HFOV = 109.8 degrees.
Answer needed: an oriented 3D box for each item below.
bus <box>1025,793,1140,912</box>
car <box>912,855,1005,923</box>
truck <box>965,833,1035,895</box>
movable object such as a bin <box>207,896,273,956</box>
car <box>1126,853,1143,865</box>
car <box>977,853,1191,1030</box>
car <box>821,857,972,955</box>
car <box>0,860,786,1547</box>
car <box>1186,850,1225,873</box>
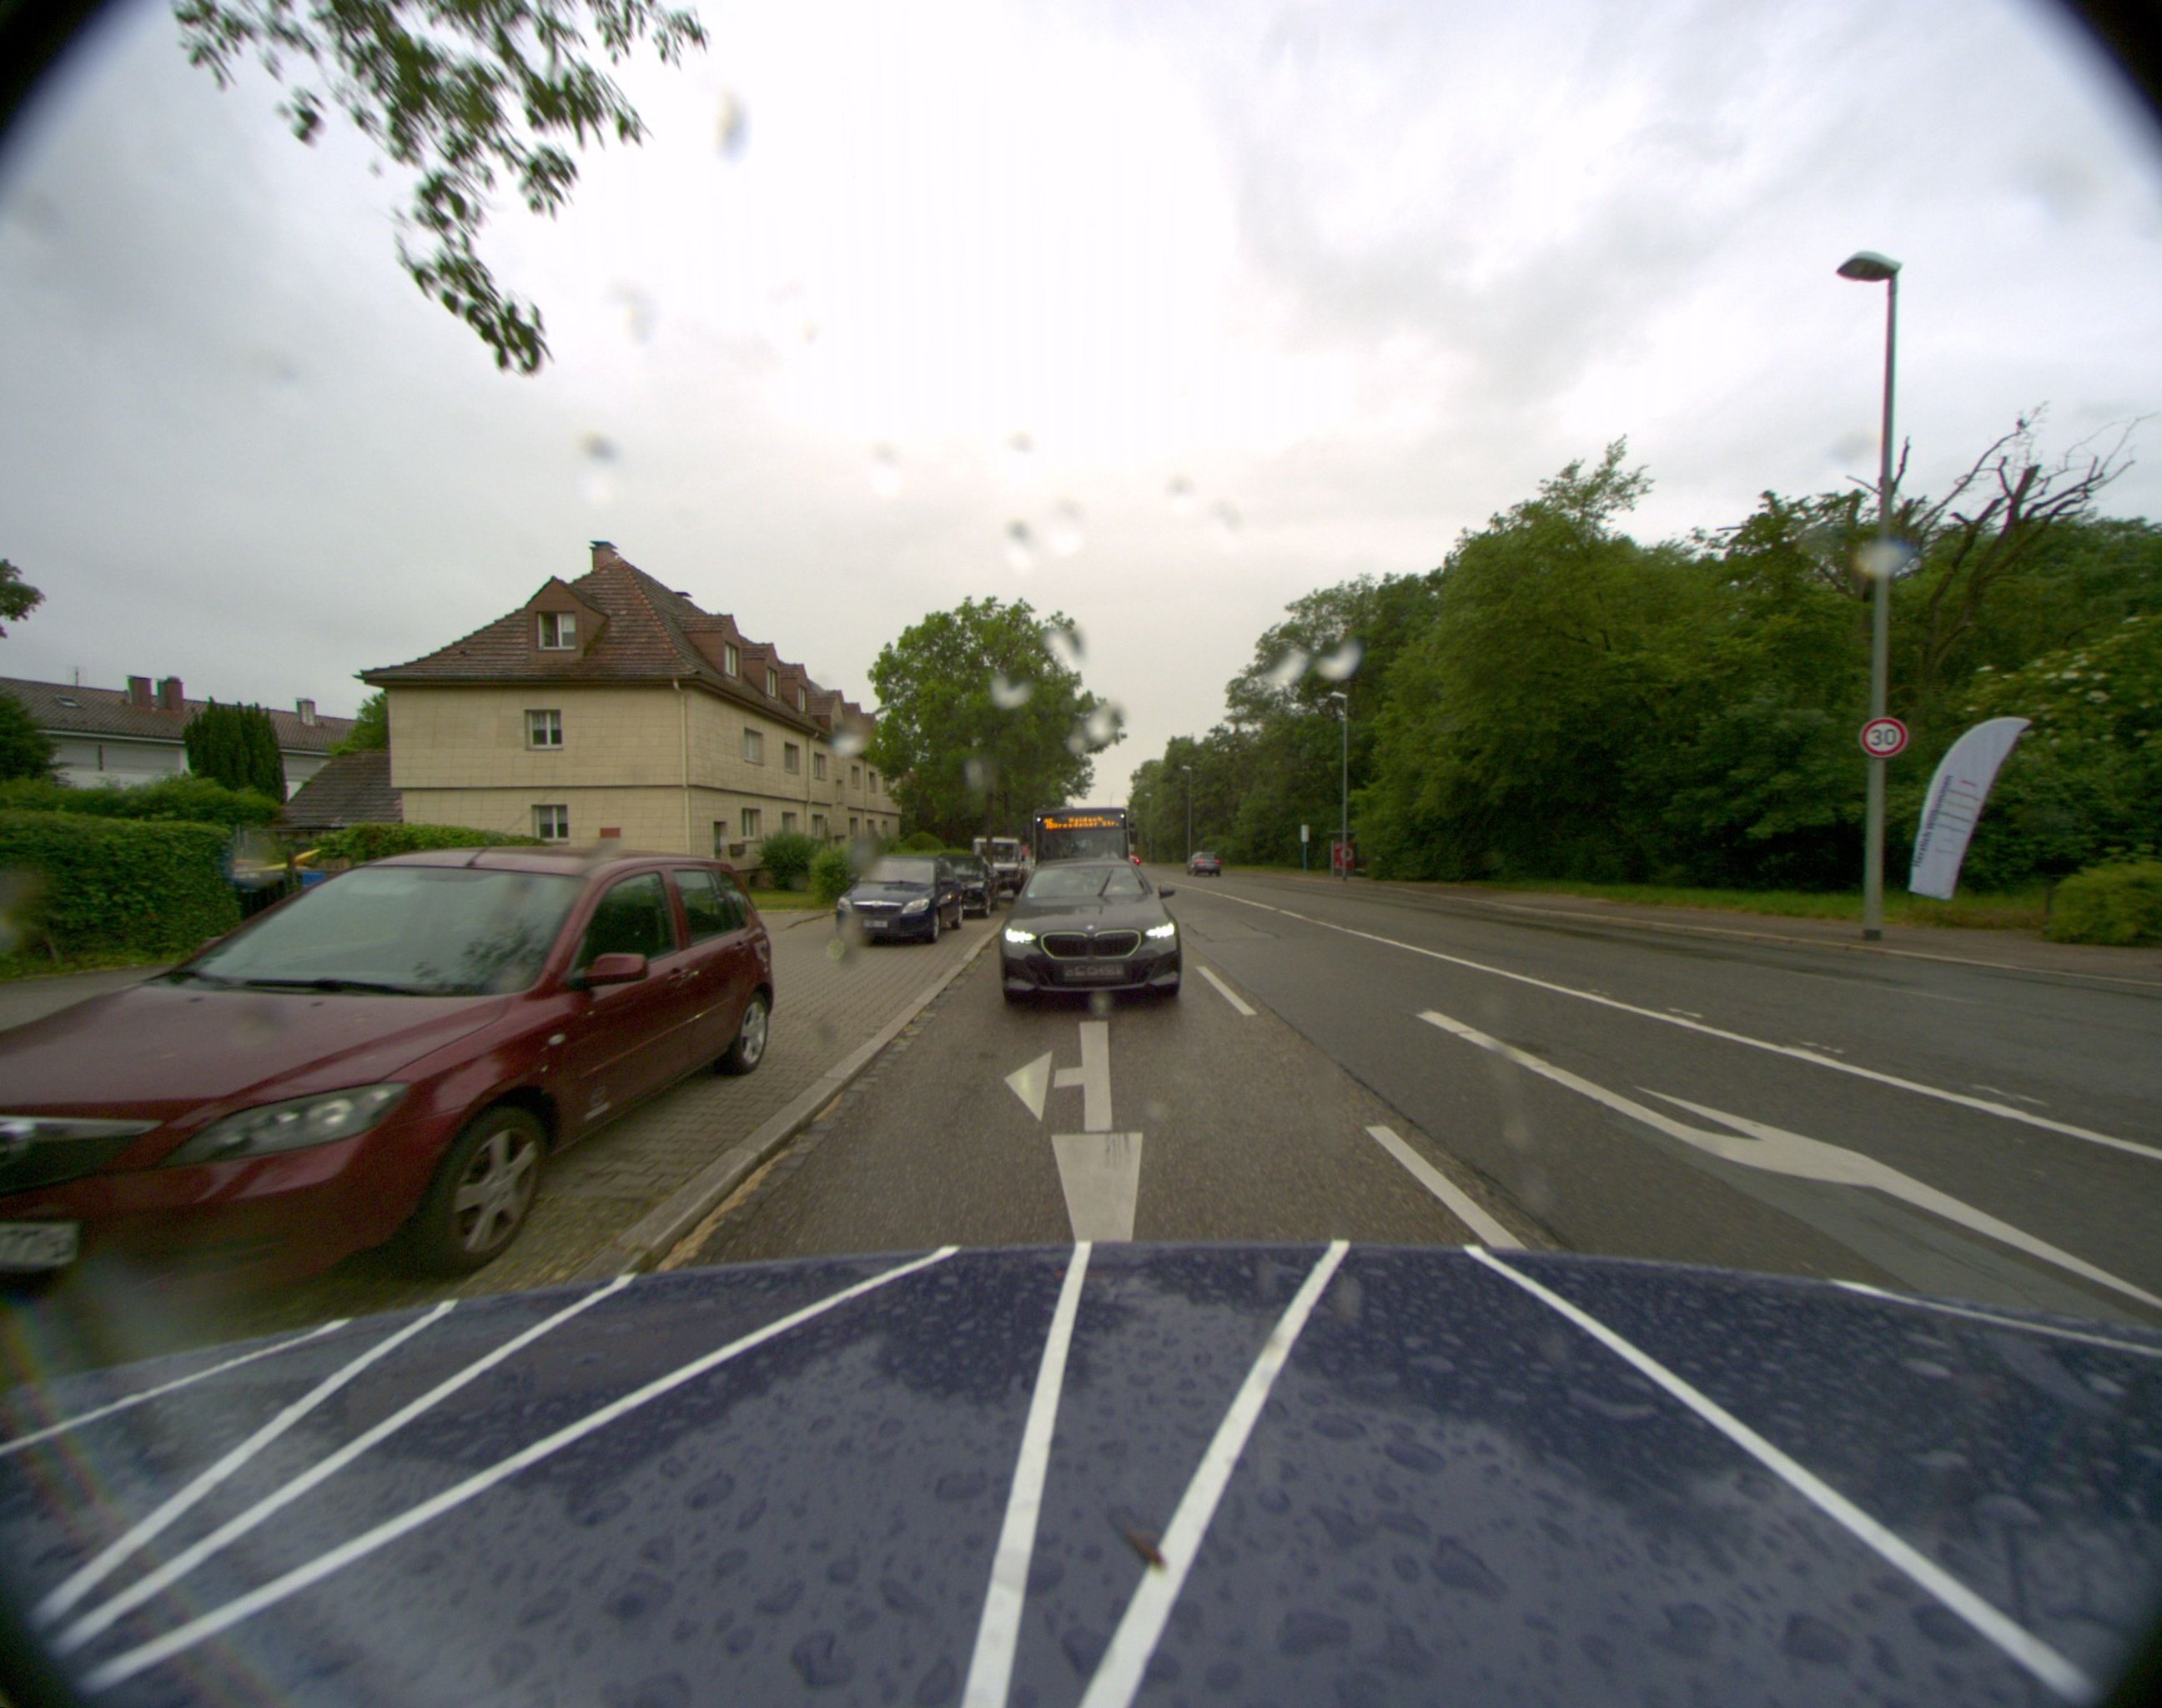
[{"bbox_3d":[0.165,-0.098,23.777,2.767,2.858,9.402,-2,1,1],"label":"bus"},{"bbox_3d":[-2.962,0.794,19.118,1.720,1.455,3.999,1,1,-1],"label":"car"},{"bbox_3d":[-3.063,0.347,29.899,1.998,2.184,5.756,0,0,1],"label":"truck"},{"bbox_3d":[-14.274,1.216,12.904,0.540,0.937,0.448,-3,1,-4],"label":"movable object such as a bin"},{"bbox_3d":[7.587,0.698,107.890,1.915,1.445,4.947,3,1,-1],"label":"car"},{"bbox_3d":[0.053,0.801,9.129,1.882,1.520,4.316,-3,0,1],"label":"car"},{"bbox_3d":[-3.148,0.816,13.772,1.720,1.416,3.999,1,1,1],"label":"car"},{"bbox_3d":[-2.951,0.896,3.698,1.615,1.495,3.754,-3,2,-2],"label":"car"},{"bbox_3d":[8.780,0.514,53.785,1.913,1.581,4.316,0,0,-2],"label":"car"}]
